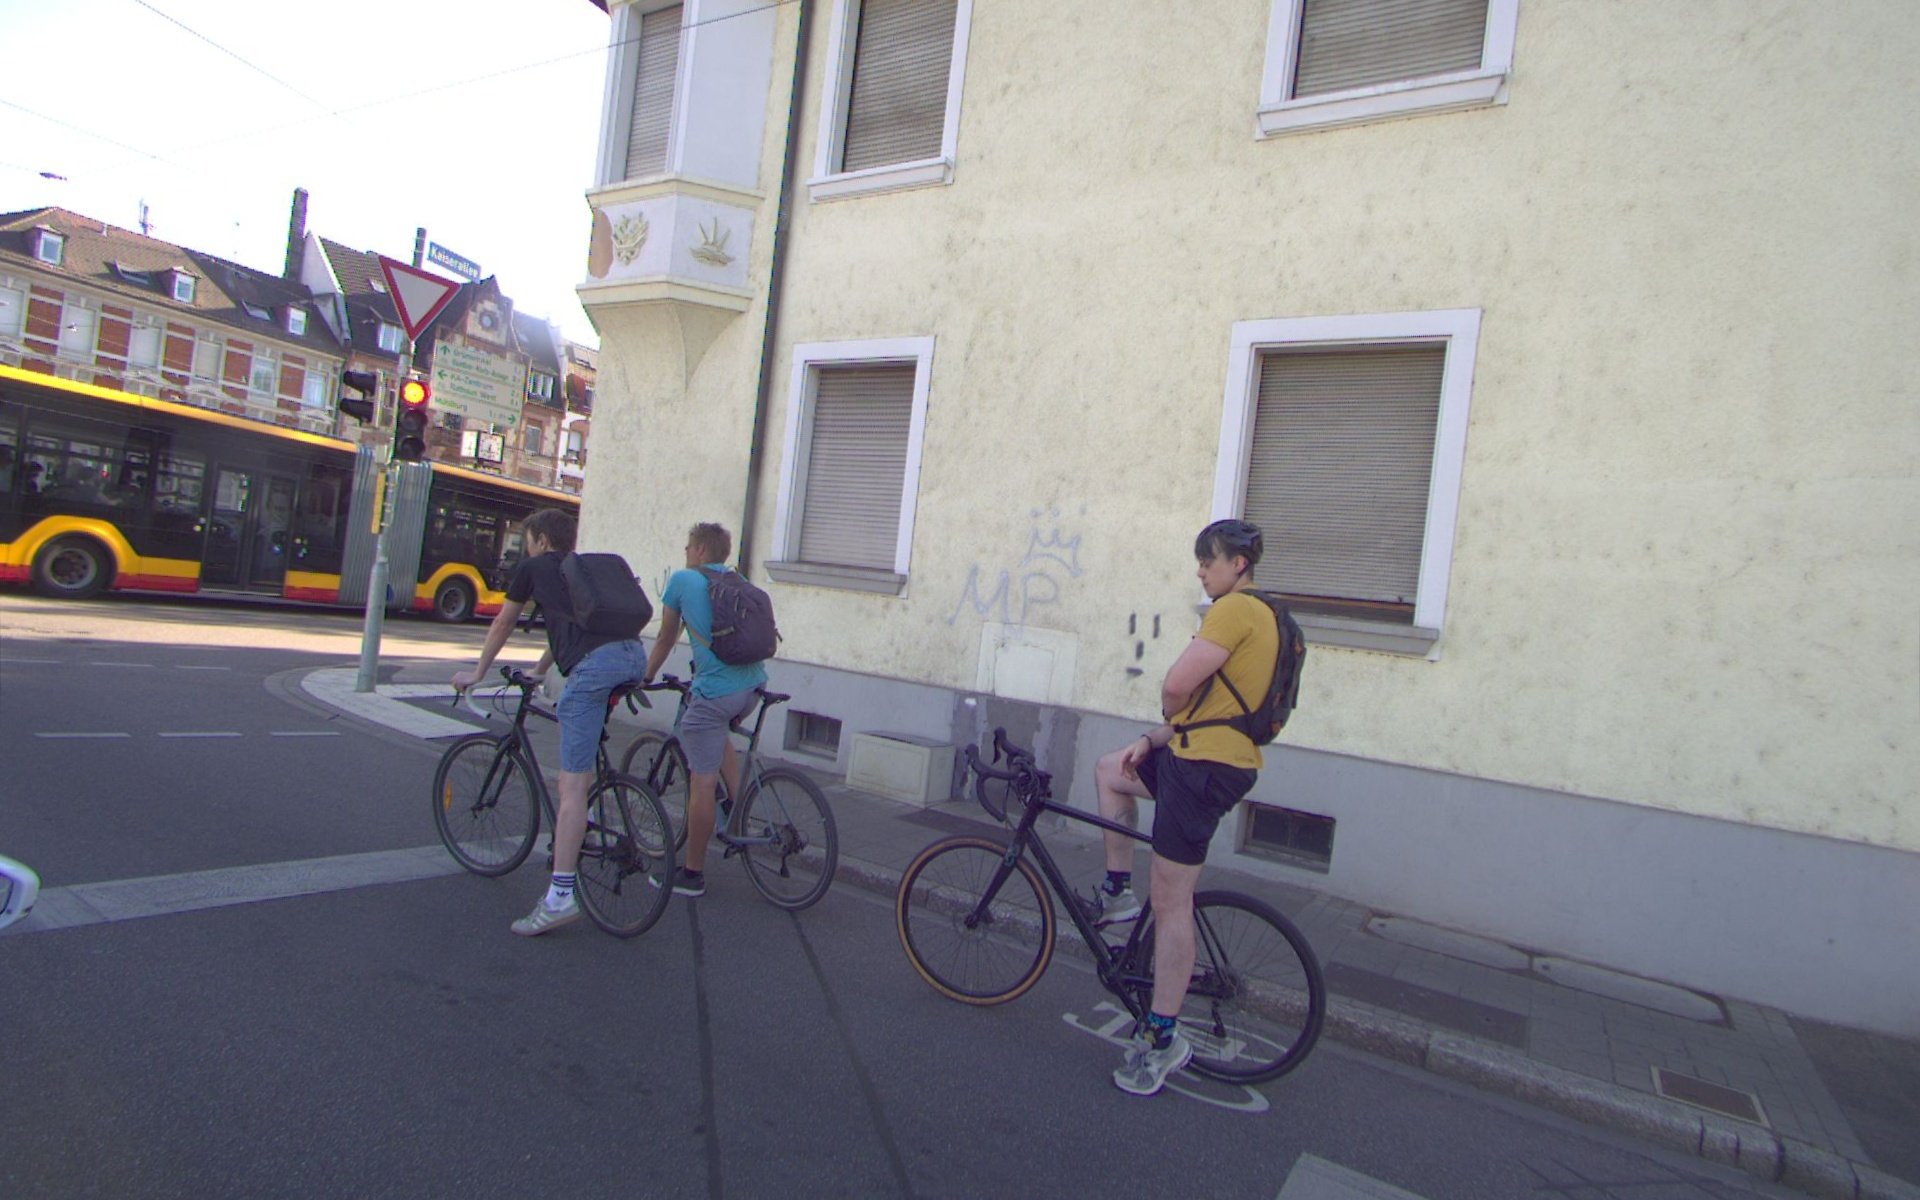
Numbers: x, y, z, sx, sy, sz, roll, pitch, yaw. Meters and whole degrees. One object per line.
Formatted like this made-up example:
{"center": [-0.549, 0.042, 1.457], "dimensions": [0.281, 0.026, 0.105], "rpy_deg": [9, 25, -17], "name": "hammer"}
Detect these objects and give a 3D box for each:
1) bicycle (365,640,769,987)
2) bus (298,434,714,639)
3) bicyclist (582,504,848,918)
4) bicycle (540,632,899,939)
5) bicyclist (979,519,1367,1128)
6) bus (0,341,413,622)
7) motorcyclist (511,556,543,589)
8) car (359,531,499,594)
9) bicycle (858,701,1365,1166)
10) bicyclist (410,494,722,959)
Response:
{"center": [-1.795, 0.837, 4.466], "dimensions": [1.858, 1.071, 0.571], "rpy_deg": [7, 0, 32], "name": "bicycle"}
{"center": [-10.228, -1.147, 24.354], "dimensions": [2.729, 3.499, 9.441], "rpy_deg": [8, -1, 24], "name": "bus"}
{"center": [-1.282, 0.526, 5.269], "dimensions": [0.978, 1.910, 0.652], "rpy_deg": [7, 0, 32], "name": "bicyclist"}
{"center": [-1.305, 0.879, 5.279], "dimensions": [1.858, 1.180, 0.571], "rpy_deg": [7, 0, 32], "name": "bicycle"}
{"center": [0.776, 0.698, 3.654], "dimensions": [1.019, 1.839, 0.652], "rpy_deg": [7, 0, 32], "name": "bicyclist"}
{"center": [-13.801, -1.821, 16.130], "dimensions": [2.737, 3.498, 8.642], "rpy_deg": [8, -1, 24], "name": "bus"}
{"center": [-20.668, -1.310, 48.035], "dimensions": [0.732, 1.371, 1.004], "rpy_deg": [7, 0, 32], "name": "motorcyclist"}
{"center": [-23.262, -1.609, 44.262], "dimensions": [1.967, 2.037, 4.988], "rpy_deg": [7, -1, 31], "name": "car"}
{"center": [0.517, 1.092, 3.771], "dimensions": [1.670, 1.180, 0.571], "rpy_deg": [7, 0, 32], "name": "bicycle"}
{"center": [-1.746, 0.494, 4.468], "dimensions": [0.978, 1.788, 0.652], "rpy_deg": [7, 0, 32], "name": "bicyclist"}
